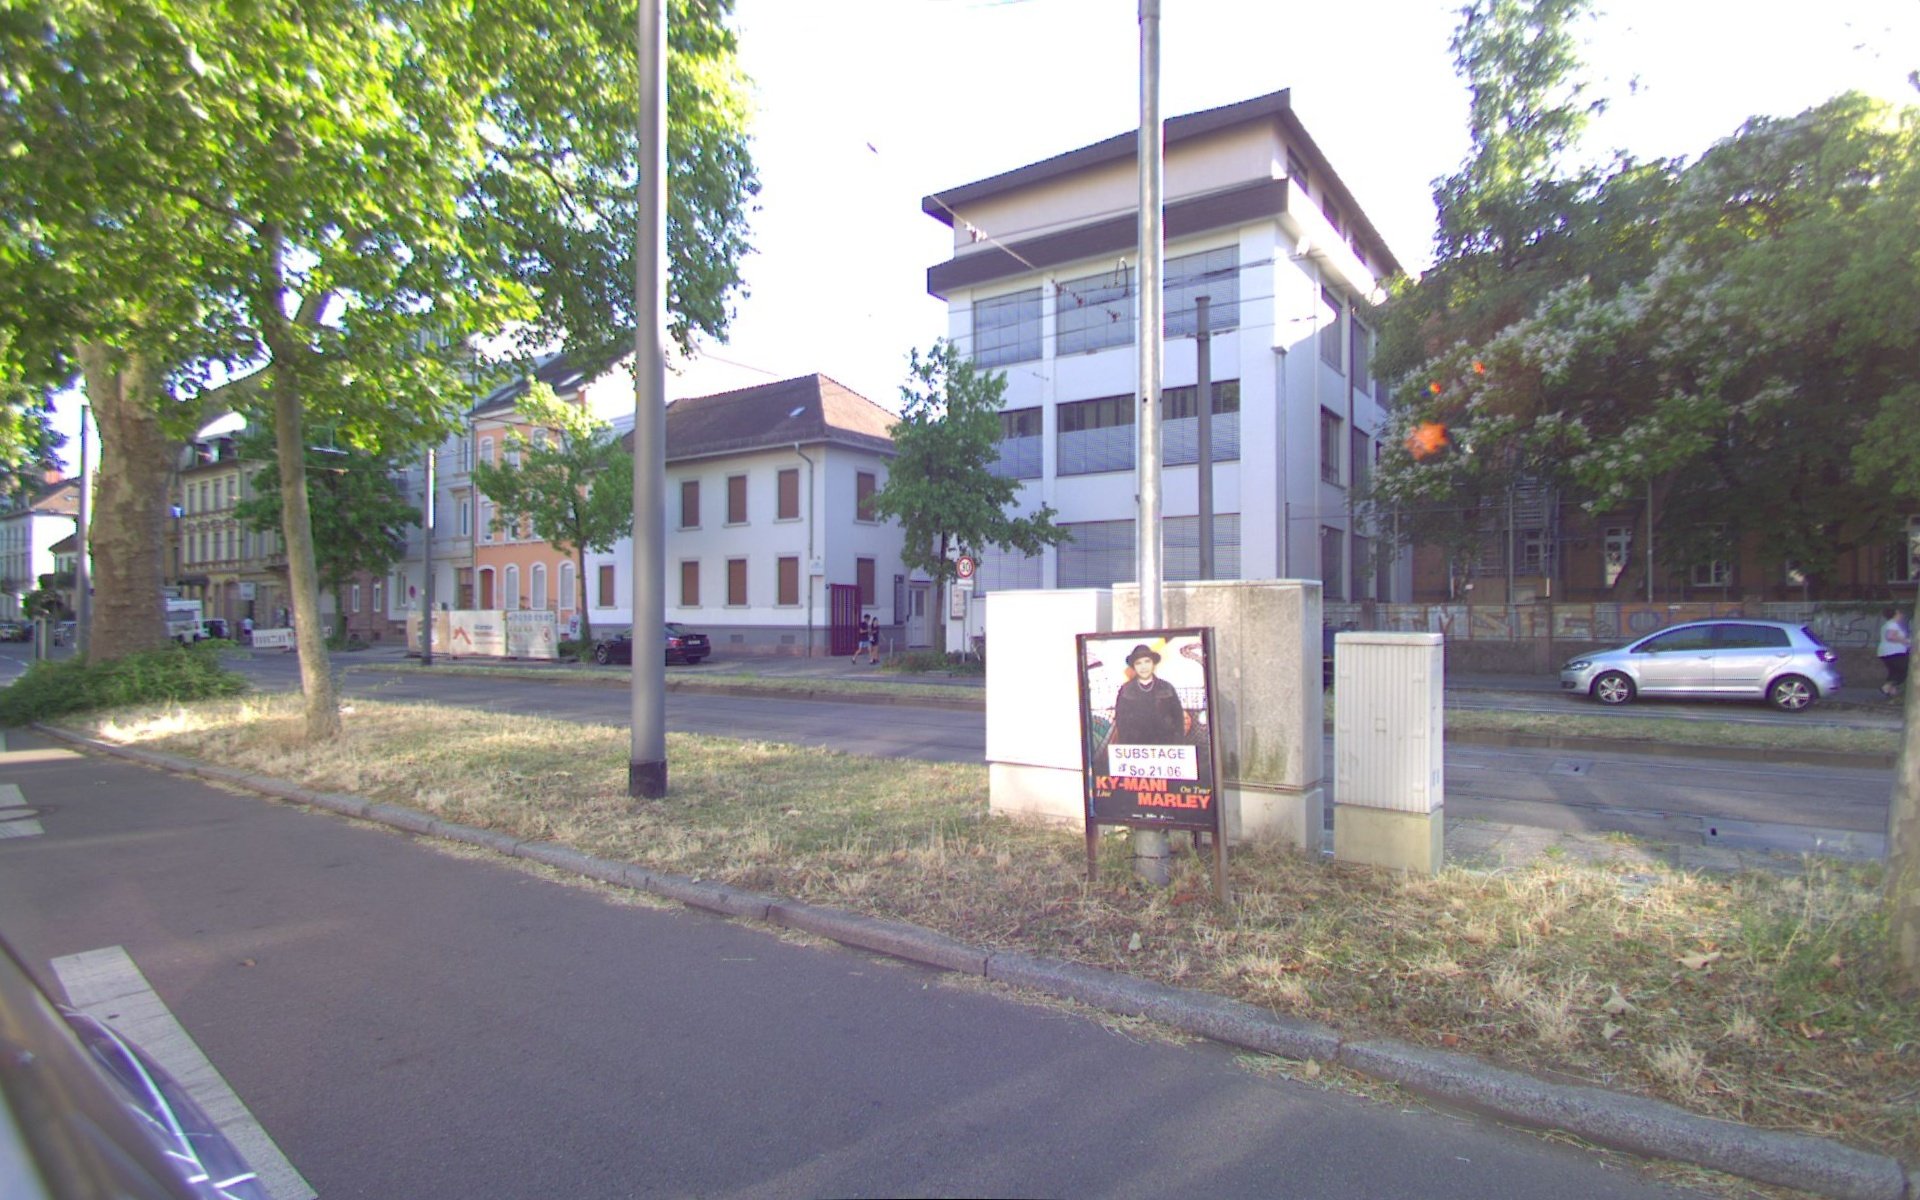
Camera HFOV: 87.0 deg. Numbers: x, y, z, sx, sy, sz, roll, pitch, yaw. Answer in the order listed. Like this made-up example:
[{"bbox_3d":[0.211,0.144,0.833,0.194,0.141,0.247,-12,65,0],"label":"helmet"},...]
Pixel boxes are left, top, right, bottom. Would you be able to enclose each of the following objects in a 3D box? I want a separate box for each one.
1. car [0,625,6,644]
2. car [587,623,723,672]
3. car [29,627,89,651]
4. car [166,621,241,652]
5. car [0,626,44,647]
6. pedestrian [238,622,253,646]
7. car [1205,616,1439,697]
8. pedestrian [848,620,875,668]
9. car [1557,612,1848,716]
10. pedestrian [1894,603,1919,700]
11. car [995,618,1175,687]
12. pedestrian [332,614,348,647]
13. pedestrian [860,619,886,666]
[{"bbox_3d":[-81.359,2.883,84.119,4.027,1.551,2.065,-1,1,33],"label":"car"},{"bbox_3d":[-10.596,1.606,35.044,4.566,1.481,2.065,-1,1,33],"label":"car"},{"bbox_3d":[-63.484,2.714,71.283,4.503,1.551,2.065,-1,1,33],"label":"car"},{"bbox_3d":[-44.203,2.103,59.115,4.520,1.686,2.065,-1,1,33],"label":"car"},{"bbox_3d":[-73.893,2.840,79.210,5.090,1.551,2.065,-1,1,33],"label":"car"},{"bbox_3d":[-44.919,2.136,63.619,0.614,1.540,0.633,-1,-2,38],"label":"pedestrian"},{"bbox_3d":[7.829,1.157,22.009,4.444,1.513,2.065,-1,1,33],"label":"car"},{"bbox_3d":[-3.203,1.422,32.885,0.708,1.540,0.532,-1,-2,29],"label":"pedestrian"},{"bbox_3d":[13.396,1.087,18.591,4.086,1.631,2.065,-1,1,33],"label":"car"},{"bbox_3d":[16.972,0.900,17.844,0.630,1.677,0.563,-1,1,34],"label":"pedestrian"},{"bbox_3d":[3.139,1.265,25.562,3.985,1.501,2.065,-1,1,33],"label":"car"},{"bbox_3d":[-34.649,1.689,56.585,0.705,1.823,0.554,-1,-2,42],"label":"pedestrian"},{"bbox_3d":[-2.903,1.400,33.706,0.710,1.540,0.531,-1,-2,35],"label":"pedestrian"}]
